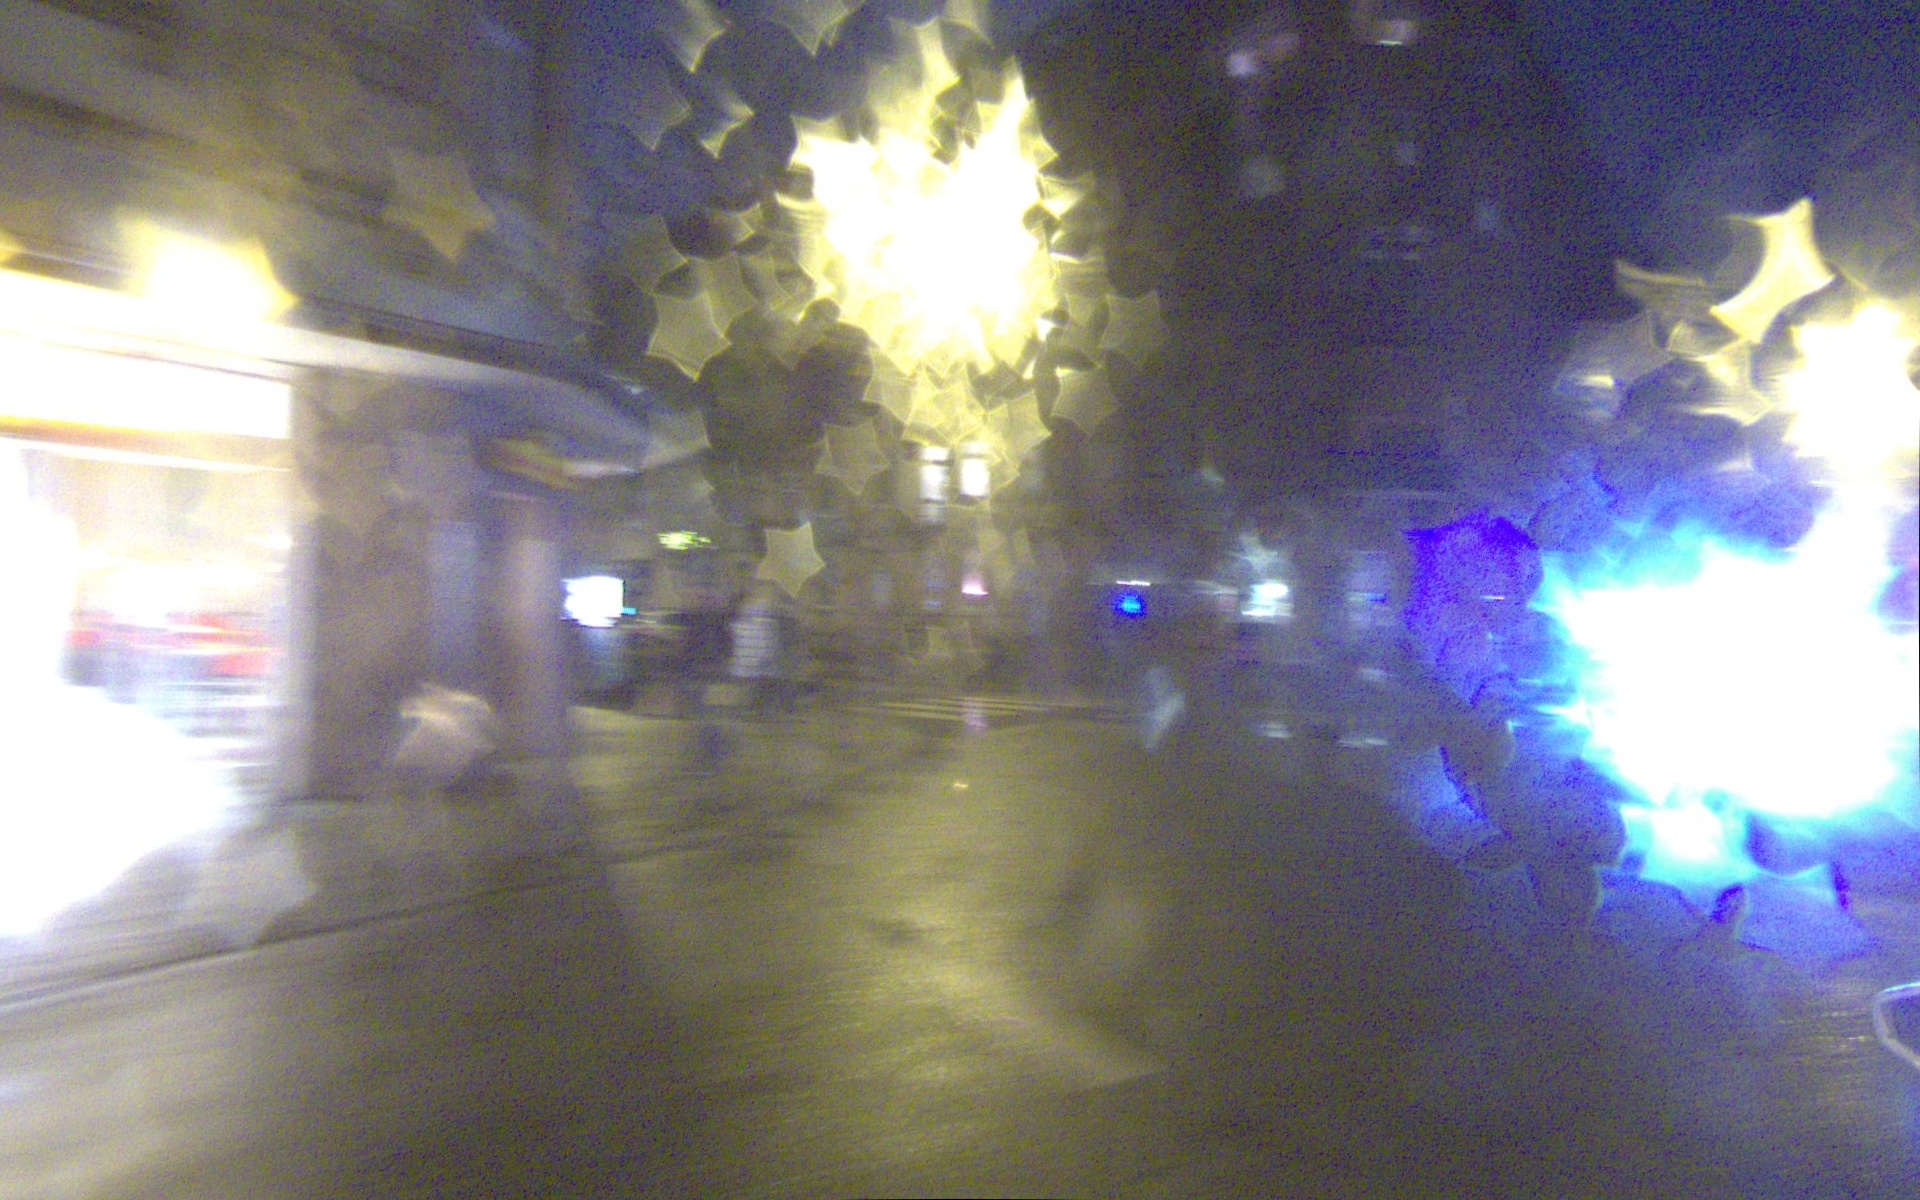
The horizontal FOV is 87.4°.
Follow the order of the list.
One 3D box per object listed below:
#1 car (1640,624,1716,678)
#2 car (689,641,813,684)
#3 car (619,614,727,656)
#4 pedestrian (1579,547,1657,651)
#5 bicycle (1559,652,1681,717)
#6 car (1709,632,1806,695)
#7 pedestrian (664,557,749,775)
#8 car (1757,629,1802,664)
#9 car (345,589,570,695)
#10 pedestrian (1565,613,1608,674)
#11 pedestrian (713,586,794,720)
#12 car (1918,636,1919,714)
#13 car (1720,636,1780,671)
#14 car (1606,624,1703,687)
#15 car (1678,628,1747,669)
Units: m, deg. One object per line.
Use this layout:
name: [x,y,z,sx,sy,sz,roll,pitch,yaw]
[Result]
car: [22.352,1.551,31.244,1.569,1.530,2.772,1,0,43]
car: [-6.746,1.988,32.651,1.570,1.292,3.697,-2,-2,44]
car: [-10.297,1.245,36.128,1.570,1.422,3.440,-2,-2,45]
pedestrian: [11.952,-0.009,18.282,1.104,1.835,0.714,0,-1,26]
bicycle: [11.954,1.511,18.266,1.768,1.073,0.714,0,-1,26]
car: [20.056,1.520,25.210,1.546,1.446,4.045,-1,-2,43]
pedestrian: [-2.321,0.593,9.254,0.642,1.934,0.628,0,0,-4]
car: [51.758,2.900,63.409,1.971,2.040,3.979,3,0,42]
car: [-10.928,0.892,21.981,3.973,2.040,1.974,3,0,-44]
pedestrian: [18.913,1.306,30.322,1.008,1.789,0.796,2,0,-41]
pedestrian: [-3.036,0.760,14.724,0.937,1.882,0.791,1,-2,-35]
car: [14.896,0.791,12.991,2.089,1.948,4.822,1,0,24]
car: [37.052,2.475,47.098,1.971,1.468,3.980,3,0,41]
car: [18.989,1.447,27.407,1.569,1.483,4.001,4,2,43]
car: [28.827,1.822,38.426,1.672,1.419,4.292,1,0,43]
